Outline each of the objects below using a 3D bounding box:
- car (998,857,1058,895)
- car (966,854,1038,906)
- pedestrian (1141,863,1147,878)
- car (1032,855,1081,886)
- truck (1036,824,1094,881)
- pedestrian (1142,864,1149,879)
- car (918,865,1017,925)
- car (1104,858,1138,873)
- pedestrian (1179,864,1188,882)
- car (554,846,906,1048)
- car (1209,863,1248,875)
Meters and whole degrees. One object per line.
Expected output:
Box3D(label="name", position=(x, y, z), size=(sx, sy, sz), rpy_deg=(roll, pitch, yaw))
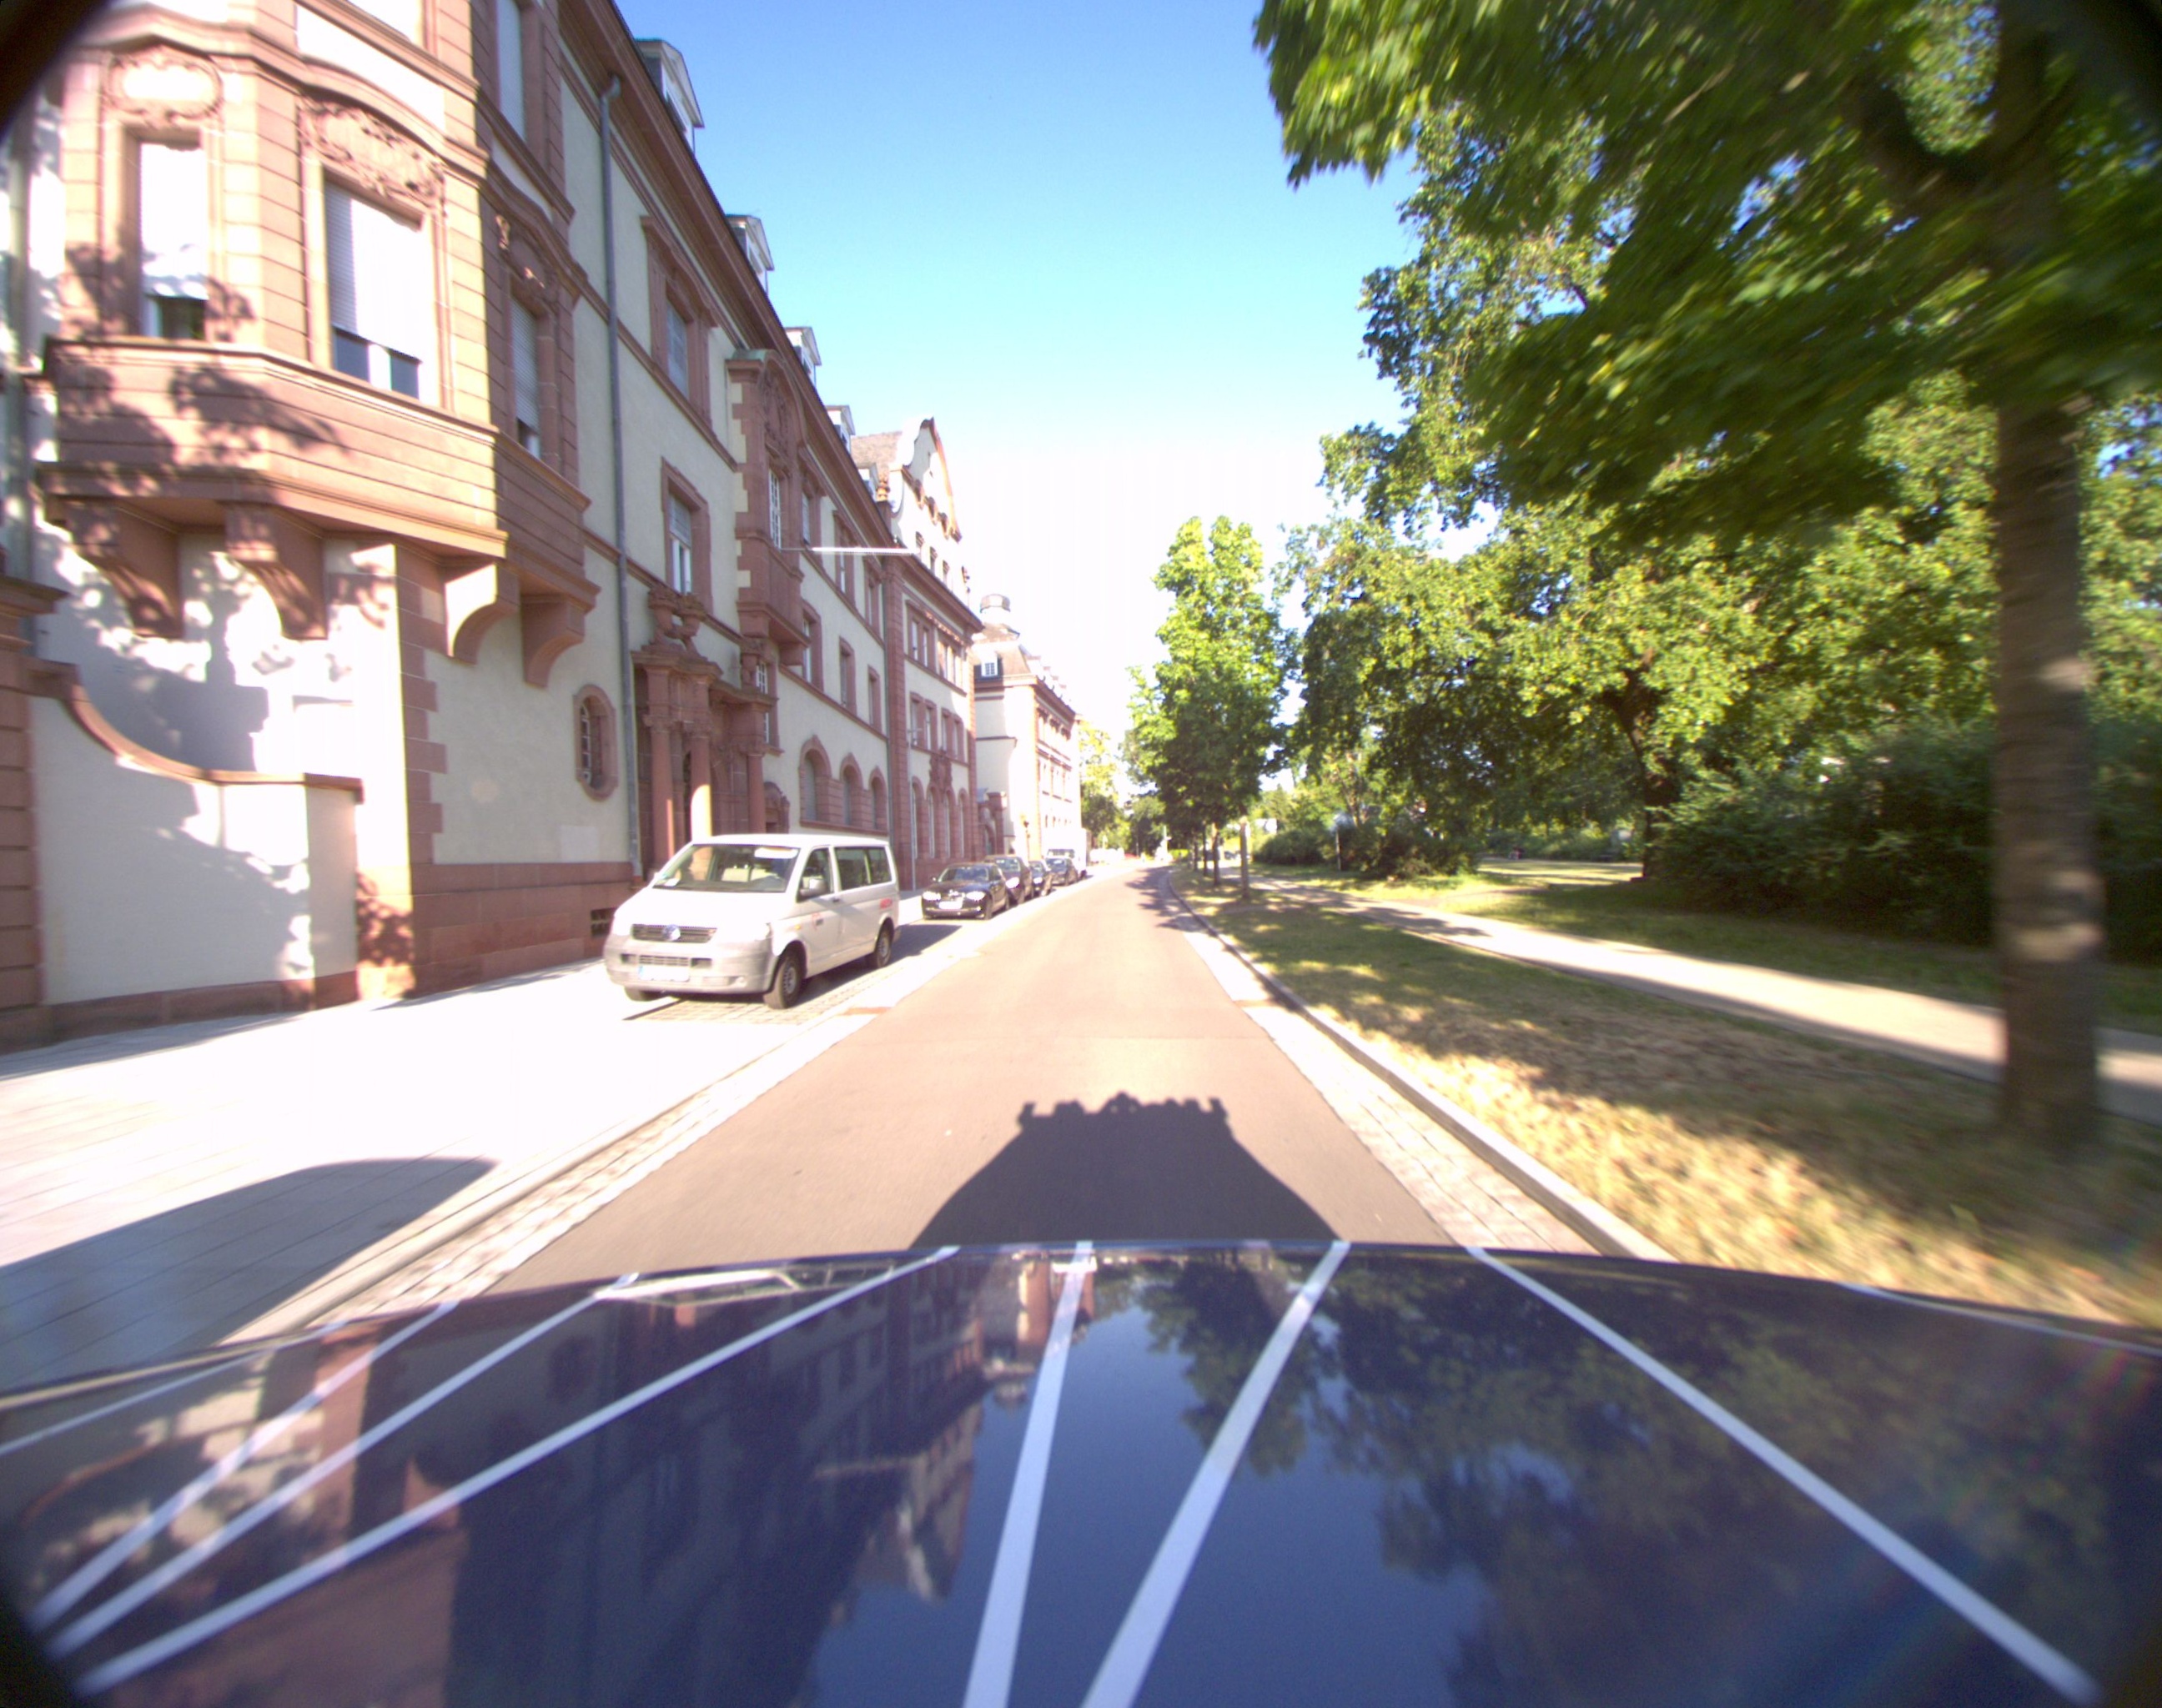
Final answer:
Box3D(label="car", position=(-2.089, 0.873, 31.146), size=(1.875, 1.428, 4.524), rpy_deg=(0, 0, 4))
Box3D(label="car", position=(-2.597, 0.836, 25.904), size=(1.820, 1.592, 4.194), rpy_deg=(0, -1, 3))
Box3D(label="pedestrian", position=(8.077, 2.096, 96.911), size=(0.613, 1.828, 0.726), rpy_deg=(-1, -2, -7))
Box3D(label="car", position=(-1.225, 0.836, 39.832), size=(1.772, 1.521, 4.575), rpy_deg=(-2, -1, 8))
Box3D(label="truck", position=(-0.827, -0.044, 45.321), size=(2.629, 3.102, 6.091), rpy_deg=(-2, -1, 6))
Box3D(label="pedestrian", position=(8.194, 2.185, 96.127), size=(0.716, 1.828, 0.790), rpy_deg=(-1, -2, -7))
Box3D(label="car", position=(-2.916, 1.013, 20.410), size=(1.682, 1.394, 4.201), rpy_deg=(-2, -1, 4))
Box3D(label="car", position=(7.428, 2.119, 141.807), size=(5.911, 2.684, 2.219), rpy_deg=(-1, -1, -11))
Box3D(label="pedestrian", position=(10.153, 1.862, 75.476), size=(0.534, 1.708, 1.002), rpy_deg=(-2, -2, -10))
Box3D(label="car", position=(-4.025, 0.879, 9.896), size=(1.998, 1.955, 4.850), rpy_deg=(1, 1, 5))
Box3D(label="car", position=(20.035, 2.080, 103.464), size=(4.838, 1.549, 1.867), rpy_deg=(-1, -1, -9))
